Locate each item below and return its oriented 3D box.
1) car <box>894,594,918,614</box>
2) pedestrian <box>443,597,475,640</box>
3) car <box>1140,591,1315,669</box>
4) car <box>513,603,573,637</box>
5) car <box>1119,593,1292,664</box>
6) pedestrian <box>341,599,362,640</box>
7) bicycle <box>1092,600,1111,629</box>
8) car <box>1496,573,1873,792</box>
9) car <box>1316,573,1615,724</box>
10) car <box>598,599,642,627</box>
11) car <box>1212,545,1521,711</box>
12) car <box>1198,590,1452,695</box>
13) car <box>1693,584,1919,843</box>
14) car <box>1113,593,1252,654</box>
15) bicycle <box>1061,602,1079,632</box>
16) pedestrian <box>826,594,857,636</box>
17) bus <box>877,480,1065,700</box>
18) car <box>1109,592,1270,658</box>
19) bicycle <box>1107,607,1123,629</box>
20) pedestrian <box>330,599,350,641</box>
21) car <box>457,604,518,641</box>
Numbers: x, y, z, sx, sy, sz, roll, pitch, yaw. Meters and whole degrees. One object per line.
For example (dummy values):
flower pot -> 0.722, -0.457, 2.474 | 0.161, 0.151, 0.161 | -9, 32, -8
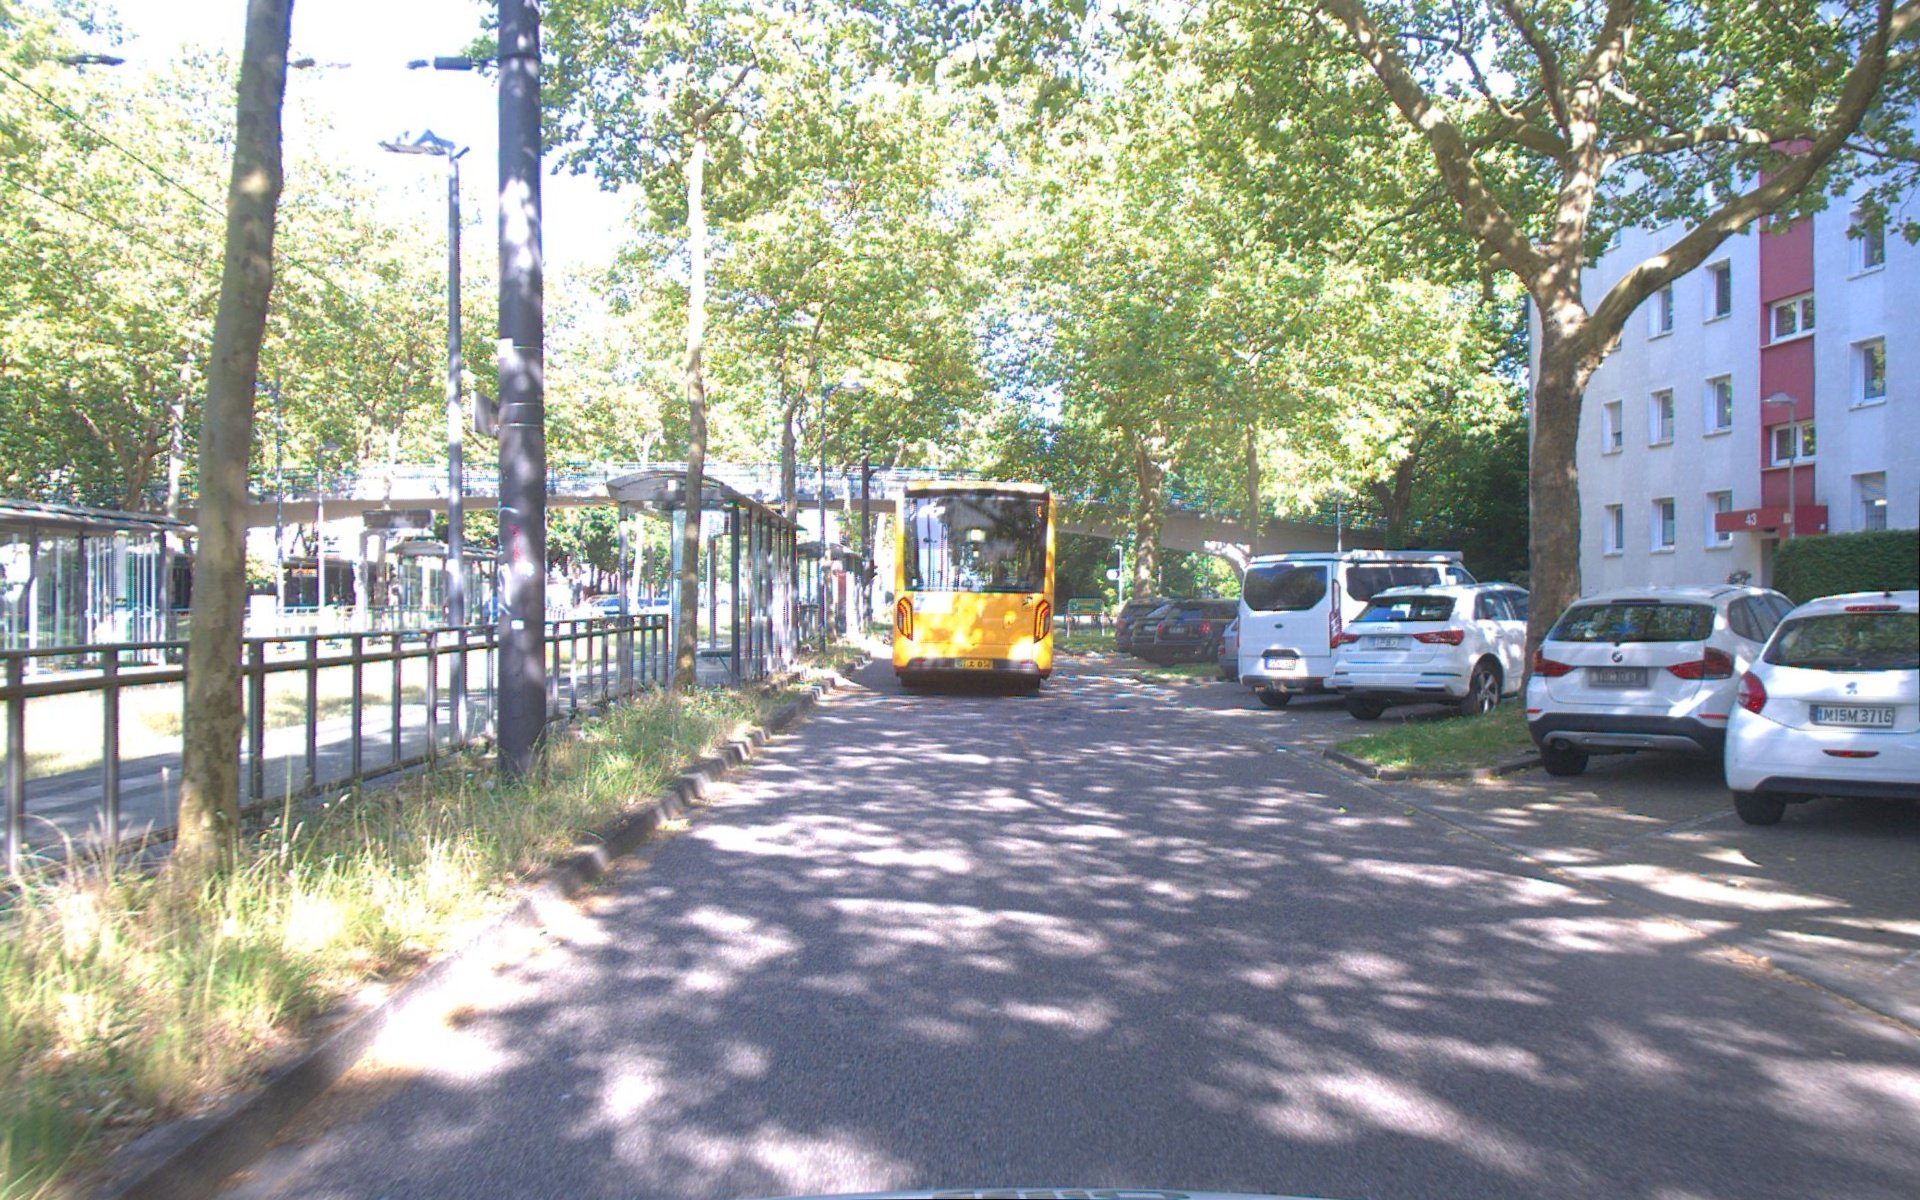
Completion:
car -> -5.008, 0.341, 154.408 | 1.946, 1.672, 4.134 | 3, 1, 0
pedestrian -> -14.824, 0.556, 48.943 | 0.762, 1.259, 0.721 | 0, 0, -2
car -> 5.955, 0.646, 36.561 | 3.970, 1.493, 1.754 | -3, 0, -44
car -> -20.270, 0.960, 80.238 | 1.775, 1.593, 4.245 | 0, 0, -30
car -> 5.919, 0.670, 39.641 | 4.219, 1.487, 1.773 | -3, 0, -41
pedestrian -> -25.282, 0.822, 68.720 | 0.635, 1.690, 0.649 | 0, 0, -5
bicycle -> 6.124, 0.630, 71.662 | 0.578, 1.203, 1.800 | -3, 1, -2
car -> 6.378, 0.609, 14.300 | 1.768, 1.536, 4.188 | -3, 0, 41
car -> 6.349, 0.548, 20.567 | 4.027, 1.608, 1.803 | -3, 0, -44
car -> -20.446, 0.769, 99.629 | 1.757, 1.608, 4.287 | 0, 0, -1
car -> 5.864, 0.337, 23.549 | 4.550, 2.088, 1.987 | -3, 0, -41
car -> 6.052, 0.658, 27.109 | 4.553, 1.448, 1.772 | -3, 0, -43
car -> 6.677, 0.638, 11.296 | 1.801, 1.444, 3.974 | -3, 0, 44
car -> 6.217, 0.631, 45.914 | 1.770, 1.487, 3.972 | -3, 0, 44
bicycle -> 4.759, 0.720, 71.653 | 0.578, 1.203, 1.800 | -3, 1, -2
pedestrian -> -3.590, 0.454, 50.206 | 0.837, 1.265, 0.850 | 1, 0, 1
bus -> -0.005, -0.149, 31.131 | 2.841, 3.324, 12.213 | 0, 0, -2
car -> 5.939, 0.636, 42.612 | 4.220, 1.487, 1.773 | -3, 0, -41
bicycle -> 6.707, 0.766, 71.550 | 0.495, 0.867, 1.473 | -3, 1, -2
pedestrian -> -25.466, 0.821, 67.931 | 0.635, 1.690, 0.649 | 0, 0, -5
car -> -21.094, 0.982, 73.989 | 1.759, 1.593, 4.284 | 0, 0, -4
